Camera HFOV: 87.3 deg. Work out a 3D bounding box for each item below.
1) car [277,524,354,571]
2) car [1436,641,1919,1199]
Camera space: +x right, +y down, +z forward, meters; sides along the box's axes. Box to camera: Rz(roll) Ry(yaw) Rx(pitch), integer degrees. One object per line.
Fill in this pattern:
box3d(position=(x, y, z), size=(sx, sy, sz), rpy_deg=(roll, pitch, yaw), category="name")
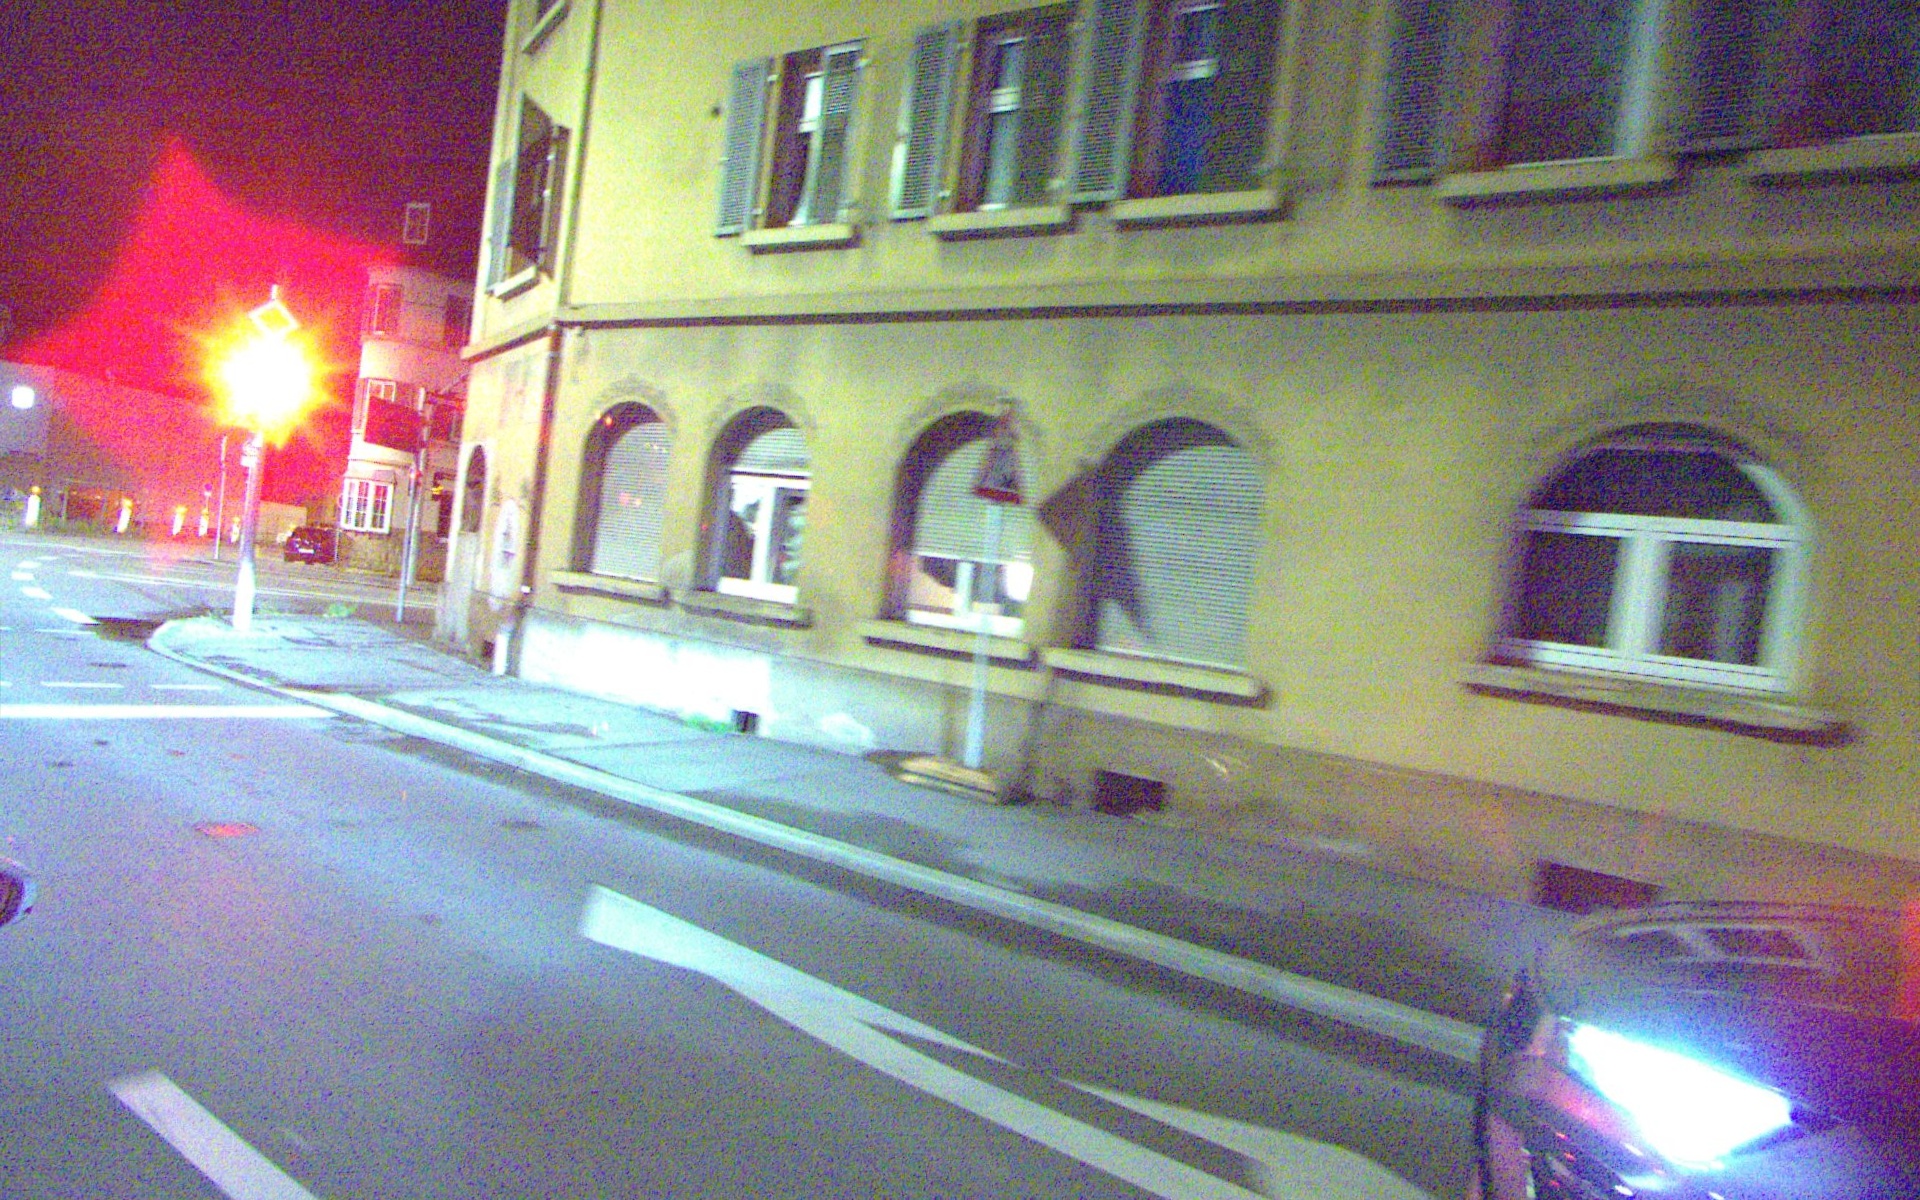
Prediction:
box3d(position=(-26.952, -2.147, 42.209), size=(1.708, 1.631, 3.610), rpy_deg=(7, -1, -18), category="car")
box3d(position=(3.083, 1.132, 1.482), size=(4.159, 1.629, 1.673), rpy_deg=(6, -1, 31), category="car")
